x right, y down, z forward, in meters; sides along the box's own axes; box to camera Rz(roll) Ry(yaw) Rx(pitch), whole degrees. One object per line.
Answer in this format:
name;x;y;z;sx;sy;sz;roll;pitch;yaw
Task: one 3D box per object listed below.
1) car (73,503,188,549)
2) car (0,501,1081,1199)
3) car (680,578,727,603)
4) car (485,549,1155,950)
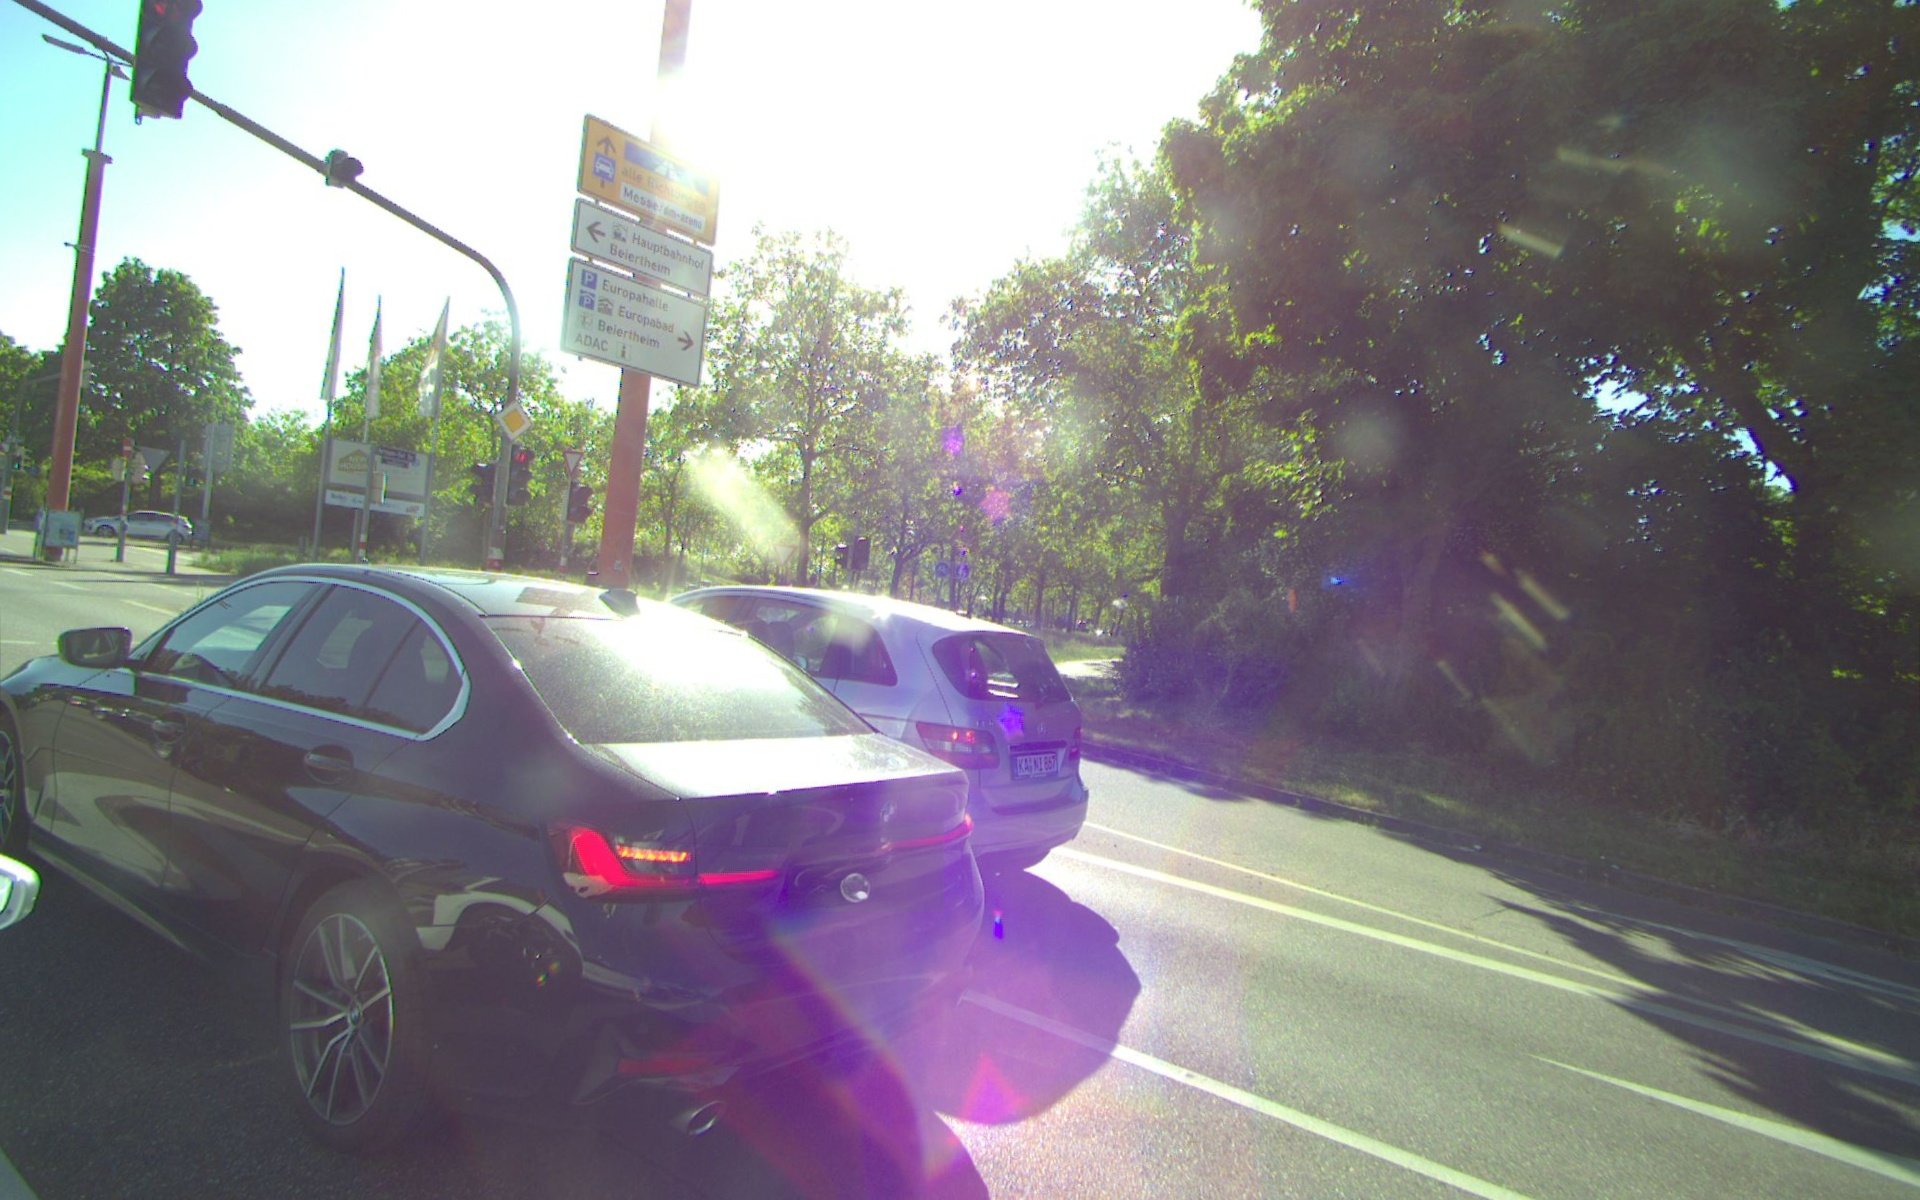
car;-38.404;-3.409;46.680;3.965;1.485;1.665;8;-1;-40
car;-1.979;0.550;3.854;4.372;1.415;1.871;7;0;34
car;-21.423;-0.777;84.145;1.834;1.597;4.002;7;-1;17
car;-1.014;0.710;6.479;3.963;1.597;1.741;7;0;33
